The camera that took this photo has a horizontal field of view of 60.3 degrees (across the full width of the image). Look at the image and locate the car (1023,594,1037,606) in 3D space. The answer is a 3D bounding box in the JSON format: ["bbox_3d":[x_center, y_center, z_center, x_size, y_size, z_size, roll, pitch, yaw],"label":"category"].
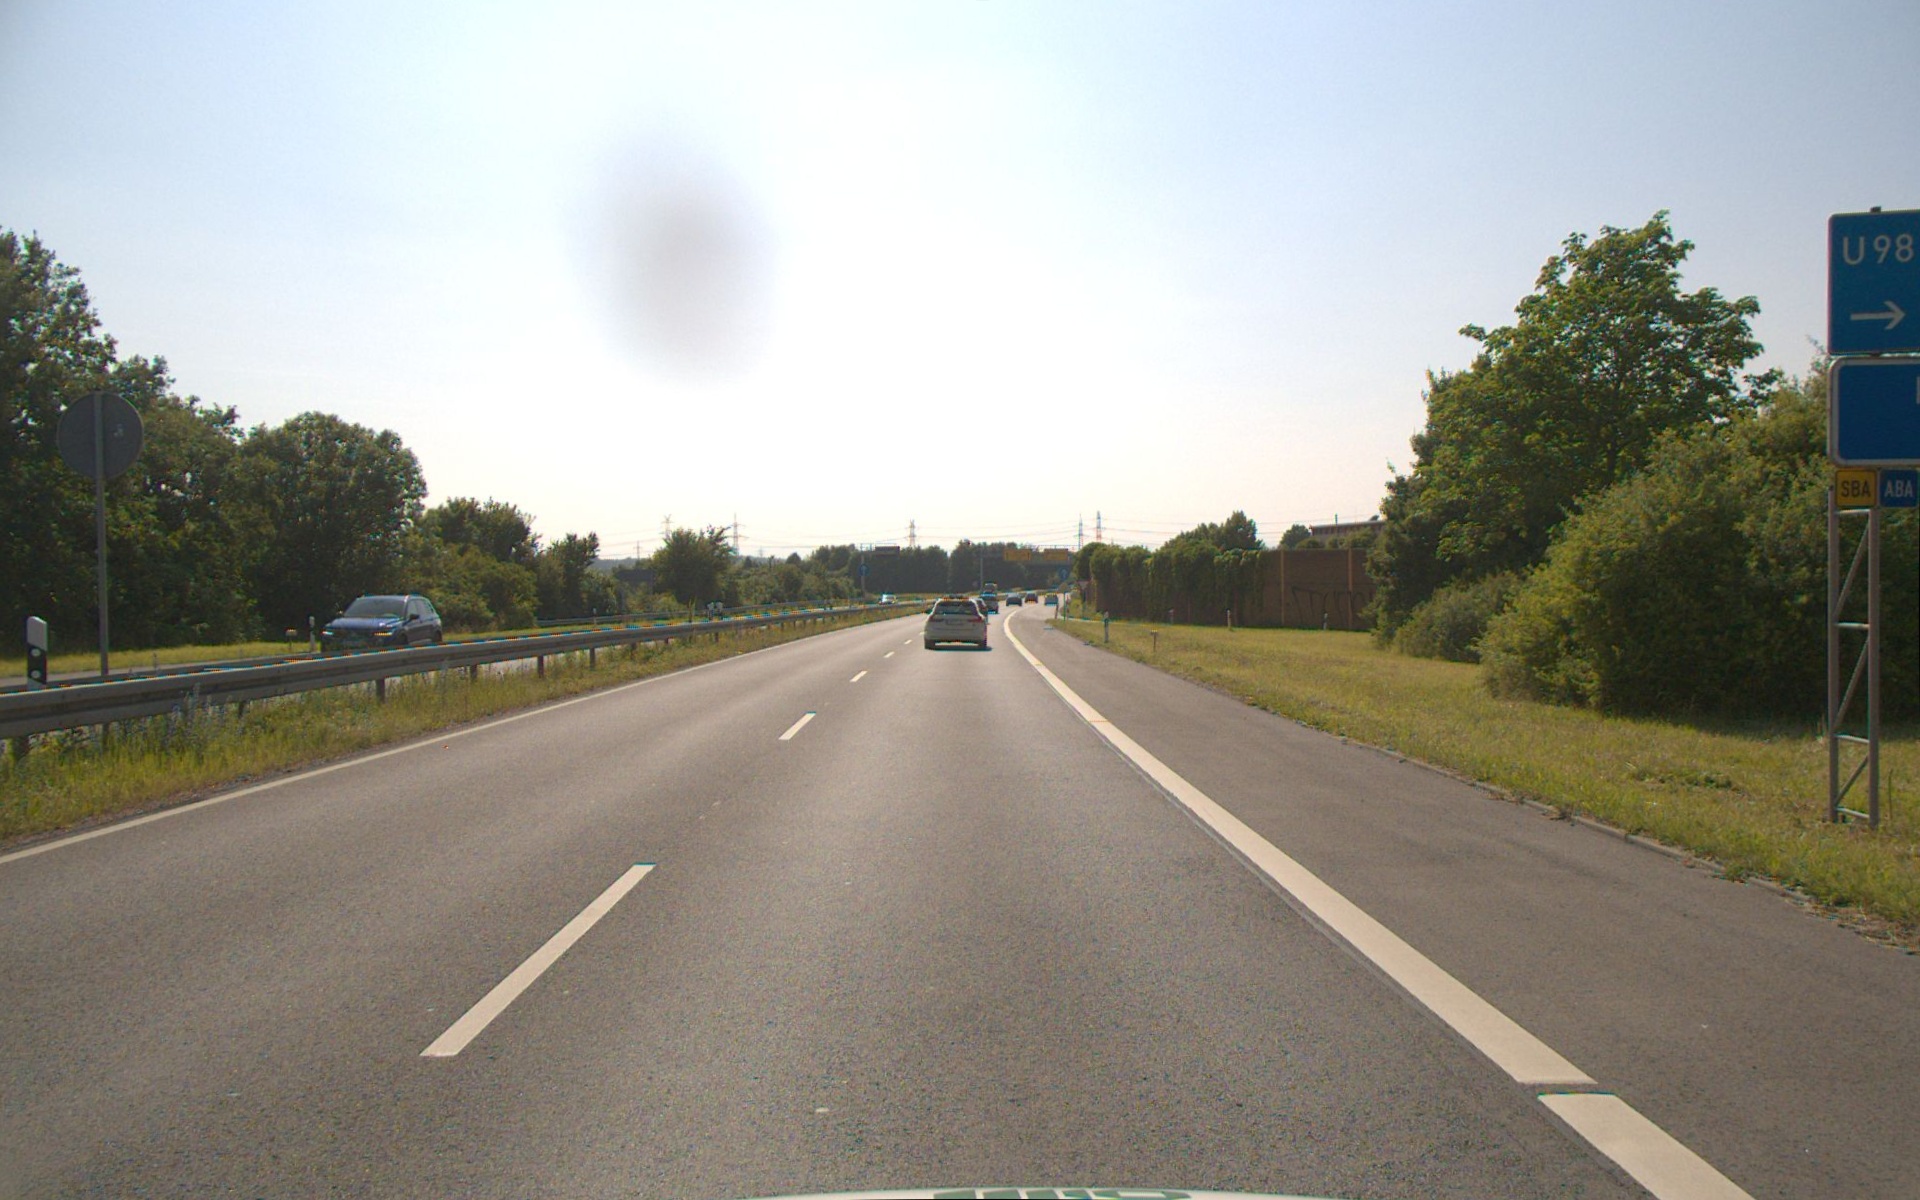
[{"bbox_3d":[10.052,-0.008,236.256,1.802,1.728,4.002,0,0,5],"label":"car"}]

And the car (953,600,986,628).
[{"bbox_3d":[0.552,0.777,93.873,1.756,1.570,3.672,0,0,1],"label":"car"}]

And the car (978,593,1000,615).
[{"bbox_3d":[2.429,0.333,137.770,1.732,1.767,3.633,0,0,2],"label":"car"}]

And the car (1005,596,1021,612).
[{"bbox_3d":[6.241,0.450,195.728,1.802,1.834,4.002,0,0,3],"label":"car"}]

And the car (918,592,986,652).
[{"bbox_3d":[-0.239,0.630,49.612,1.918,1.629,4.107,1,1,0],"label":"car"}]

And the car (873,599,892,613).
[{"bbox_3d":[-8.573,0.674,182.604,1.772,1.375,4.275,1,1,1],"label":"car"}]

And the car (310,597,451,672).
[{"bbox_3d":[-14.151,0.807,40.656,1.953,1.633,4.274,1,1,0],"label":"car"}]
